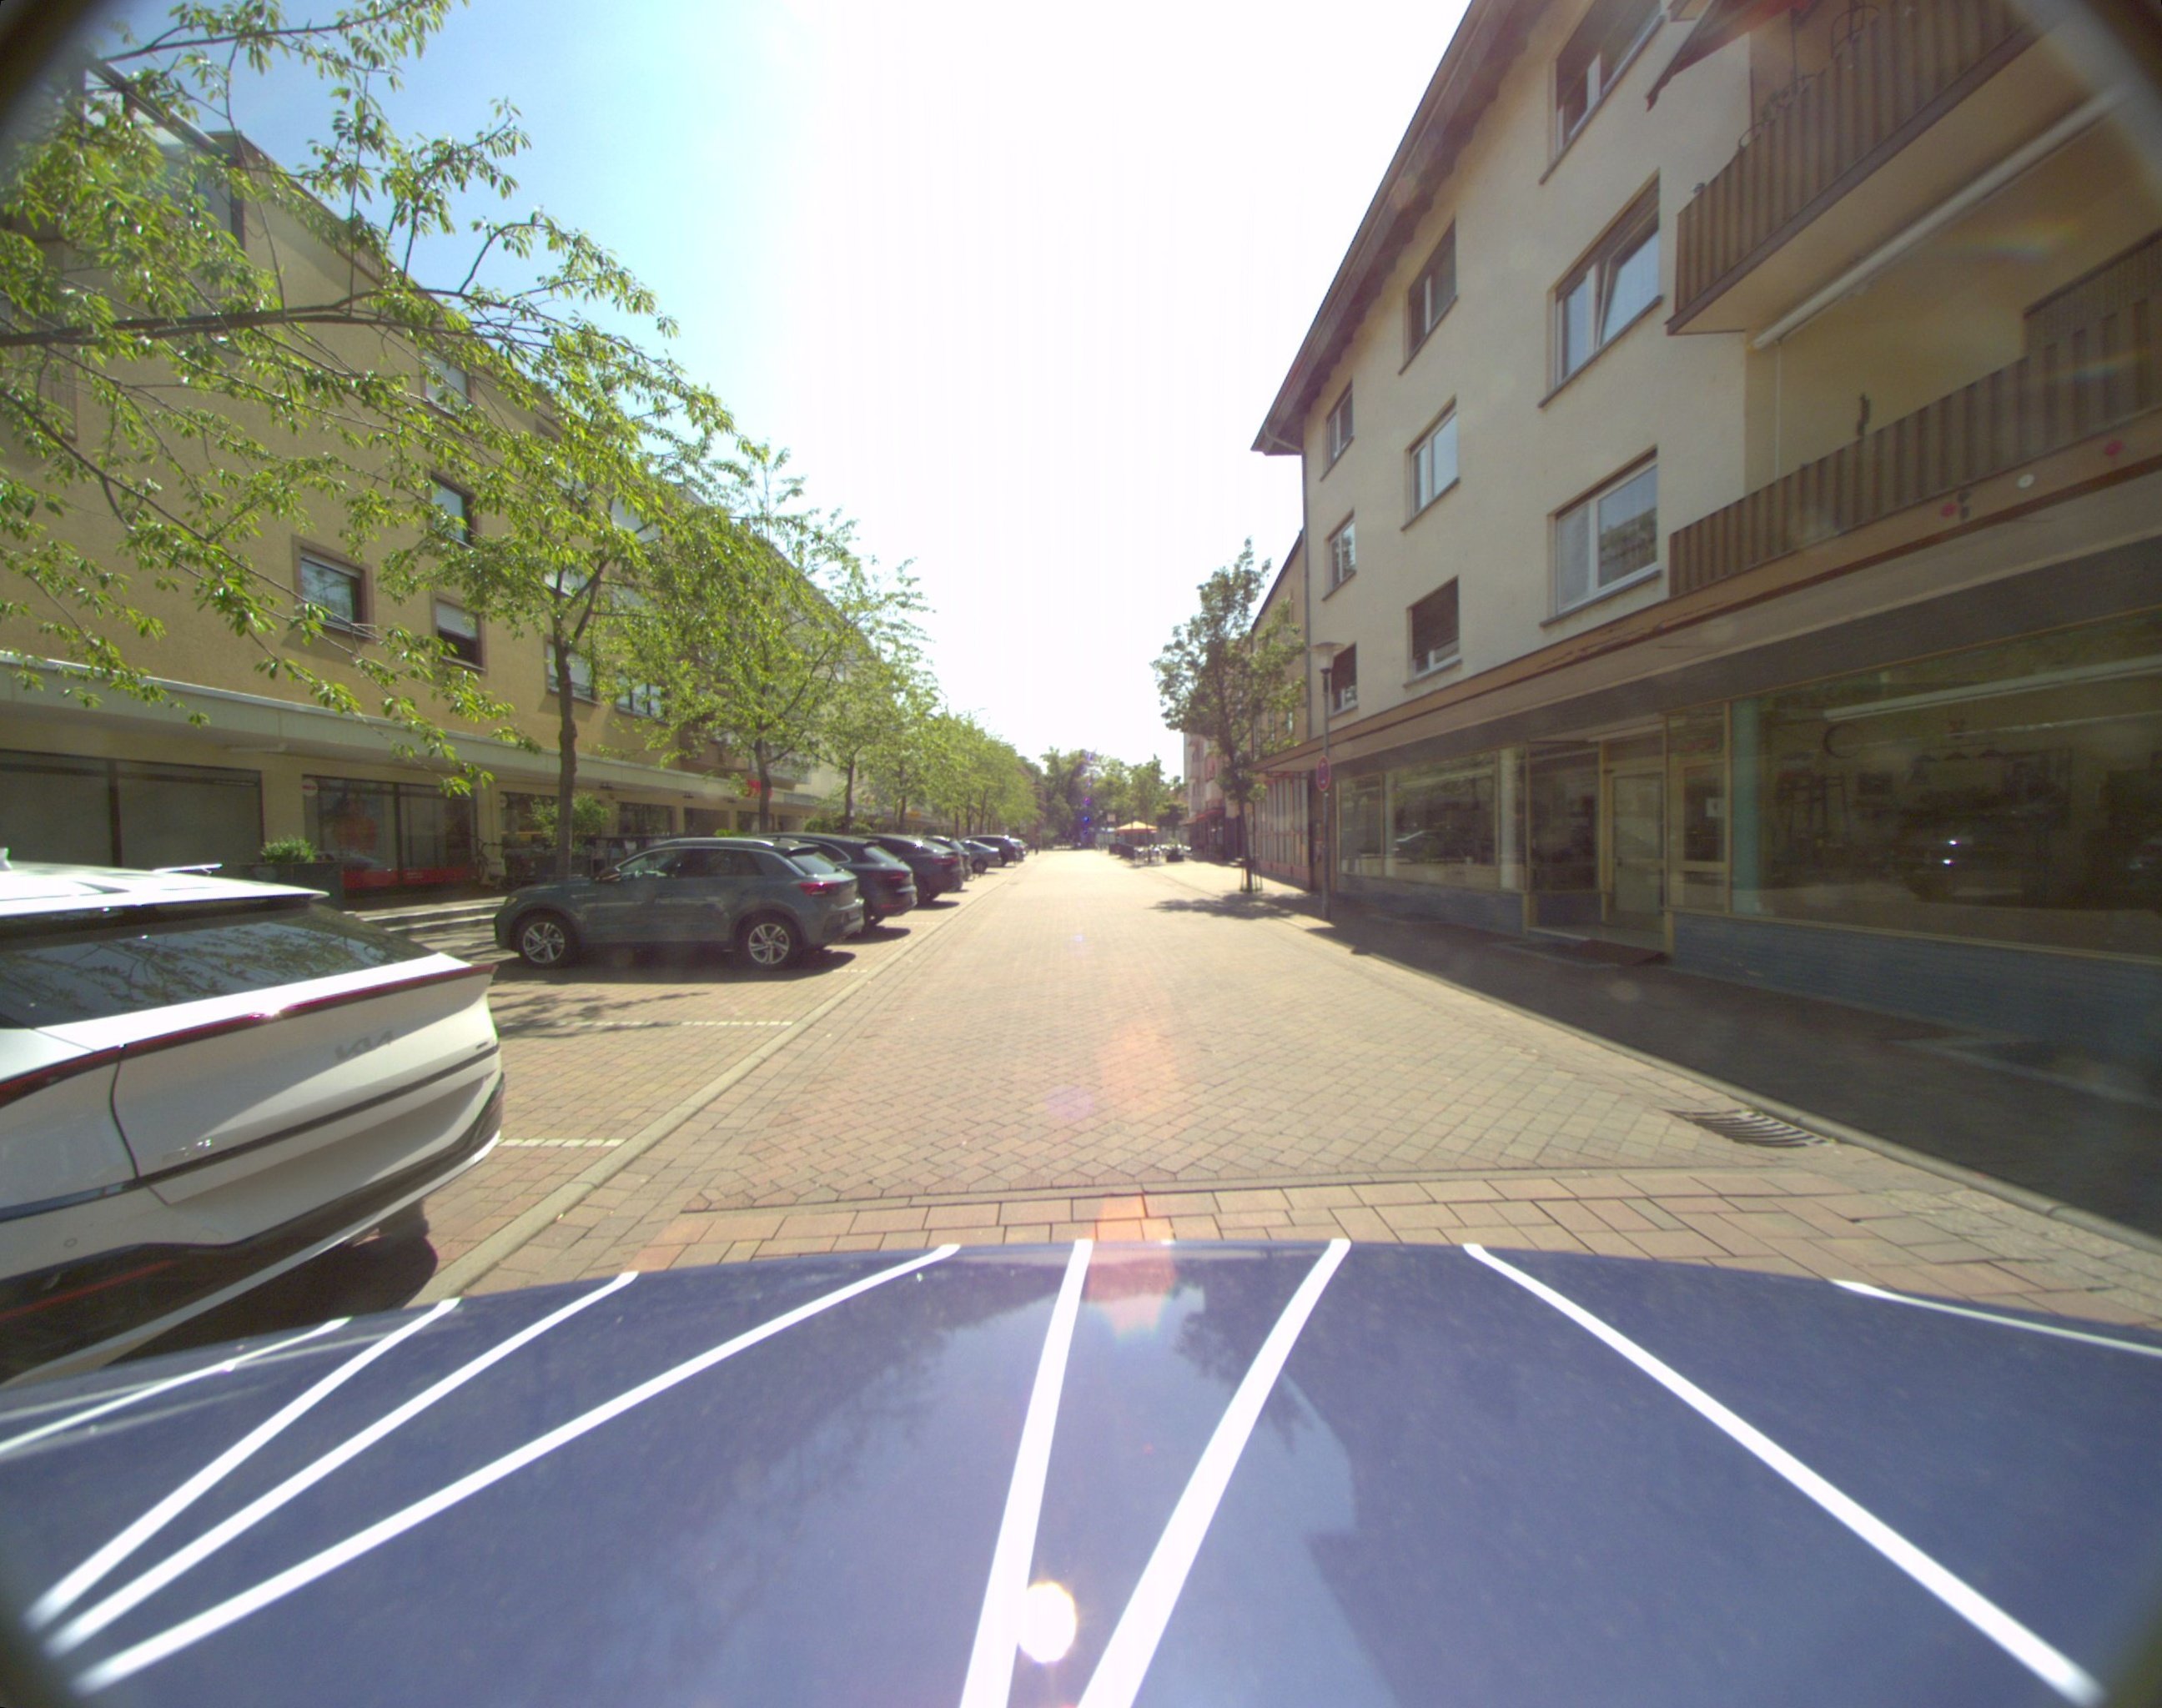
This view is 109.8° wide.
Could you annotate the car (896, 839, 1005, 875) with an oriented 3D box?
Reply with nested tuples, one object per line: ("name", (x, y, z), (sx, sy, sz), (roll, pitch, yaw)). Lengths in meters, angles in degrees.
("car", (-5.706, 0.094, 33.195), (4.391, 1.455, 1.886), (-1, 2, -21))

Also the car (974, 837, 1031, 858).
("car", (-5.493, -0.492, 53.301), (3.800, 1.423, 1.613), (0, 2, -1))

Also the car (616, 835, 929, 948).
("car", (-4.803, 0.527, 12.407), (4.291, 1.671, 1.999), (0, 2, -3))

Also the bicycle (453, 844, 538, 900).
("bicycle", (-12.911, 0.367, 16.819), (0.413, 1.117, 1.773), (-2, 2, 1))

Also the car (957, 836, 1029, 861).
("car", (-5.822, -0.360, 50.572), (4.586, 1.535, 1.806), (-1, 2, -1))

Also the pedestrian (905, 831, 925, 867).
("pedestrian", (-8.060, -0.265, 36.956), (0.614, 1.721, 0.649), (0, 3, 33))

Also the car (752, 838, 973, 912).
("car", (-4.901, 0.429, 17.510), (4.519, 1.579, 1.850), (0, 2, 1))

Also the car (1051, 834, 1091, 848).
("car", (-1.131, -1.429, 84.843), (4.336, 1.459, 1.776), (-1, 2, 3))

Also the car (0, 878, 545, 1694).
("car", (-4.445, 0.901, 2.210), (4.452, 1.567, 1.788), (1, 2, -1))

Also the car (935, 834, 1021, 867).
("car", (-5.275, -0.199, 39.341), (4.255, 1.609, 1.756), (0, 2, -3))

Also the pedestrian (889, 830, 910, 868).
("pedestrian", (-8.470, -0.237, 35.447), (0.633, 1.763, 0.685), (-3, 3, -39))

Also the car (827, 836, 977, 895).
("car", (-5.174, 0.319, 22.370), (4.038, 1.603, 1.680), (1, 2, -2))

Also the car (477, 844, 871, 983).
("car", (-4.857, 0.676, 9.558), (3.955, 1.525, 1.823), (1, 2, -2))

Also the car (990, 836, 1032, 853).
("car", (-5.839, -0.791, 63.393), (3.401, 1.382, 1.460), (0, 2, -1))

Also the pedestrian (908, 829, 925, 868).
("pedestrian", (-7.778, -0.260, 35.935), (0.607, 1.786, 0.626), (-3, 3, -29))
